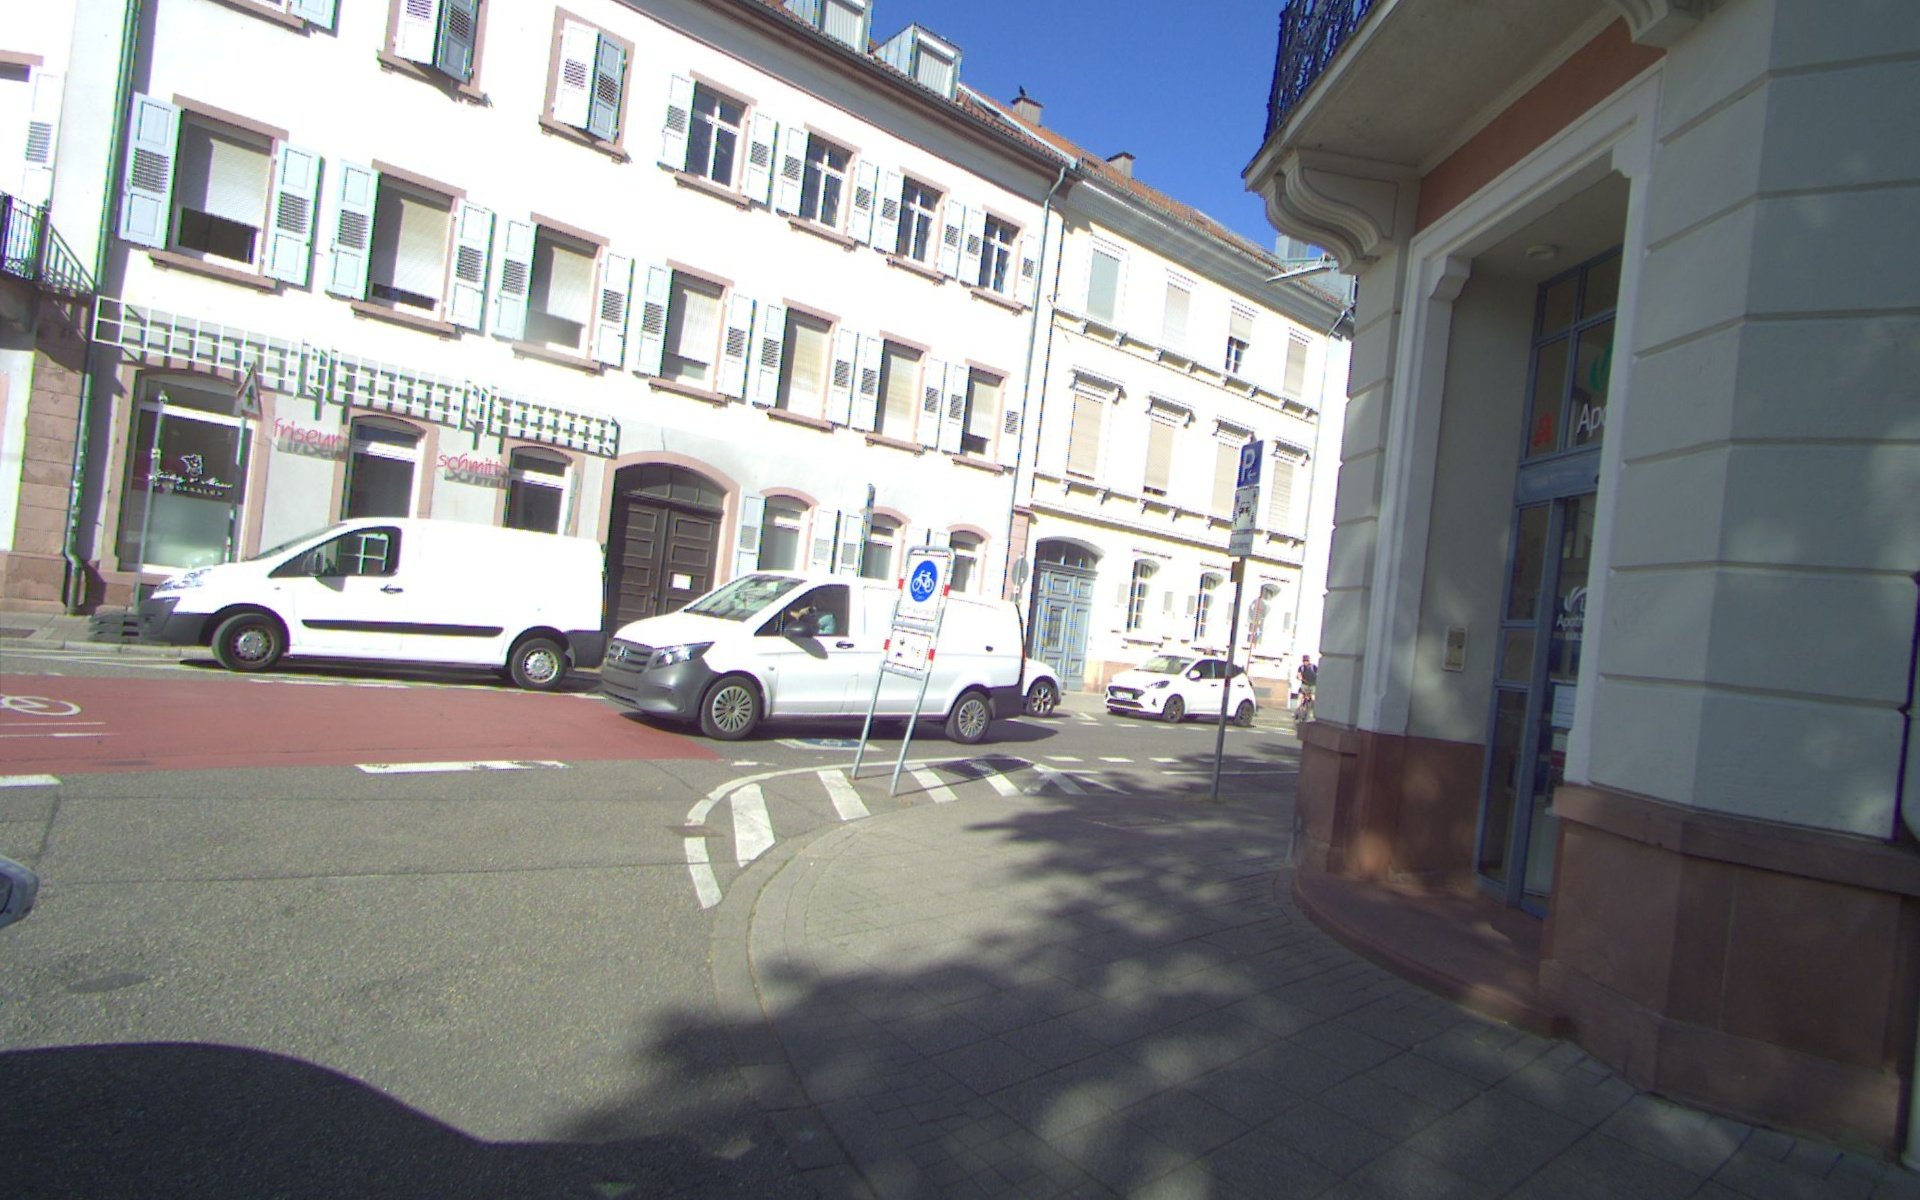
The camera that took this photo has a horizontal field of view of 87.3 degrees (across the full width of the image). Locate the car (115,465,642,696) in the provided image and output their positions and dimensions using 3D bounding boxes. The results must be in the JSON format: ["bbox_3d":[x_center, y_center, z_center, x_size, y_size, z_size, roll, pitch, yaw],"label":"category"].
[{"bbox_3d":[-6.719,-0.101,12.134,4.981,1.969,2.032,8,-1,-35],"label":"car"}]

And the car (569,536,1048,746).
[{"bbox_3d":[-1.589,0.605,12.226,5.390,1.930,2.083,8,-2,-43],"label":"car"}]

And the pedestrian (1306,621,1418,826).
[{"bbox_3d":[3.846,1.164,9.592,0.816,1.783,0.753,5,-4,25],"label":"pedestrian"}]

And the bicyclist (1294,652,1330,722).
[{"bbox_3d":[8.388,2.059,23.966,0.627,1.565,1.025,6,-1,21],"label":"bicyclist"}]

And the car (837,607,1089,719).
[{"bbox_3d":[0.135,1.162,18.075,4.347,1.559,1.630,8,-3,-38],"label":"car"}]

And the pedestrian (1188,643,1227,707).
[{"bbox_3d":[6.572,1.991,26.750,0.634,1.620,0.579,7,0,-37],"label":"pedestrian"}]

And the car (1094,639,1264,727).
[{"bbox_3d":[4.834,1.836,22.048,3.610,1.559,1.616,8,-3,-38],"label":"car"}]

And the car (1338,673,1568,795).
[{"bbox_3d":[7.775,2.083,15.766,3.608,1.452,1.689,7,2,-38],"label":"car"}]

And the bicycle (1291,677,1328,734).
[{"bbox_3d":[8.340,2.492,23.961,0.660,1.213,1.926,7,-1,20],"label":"bicycle"}]
